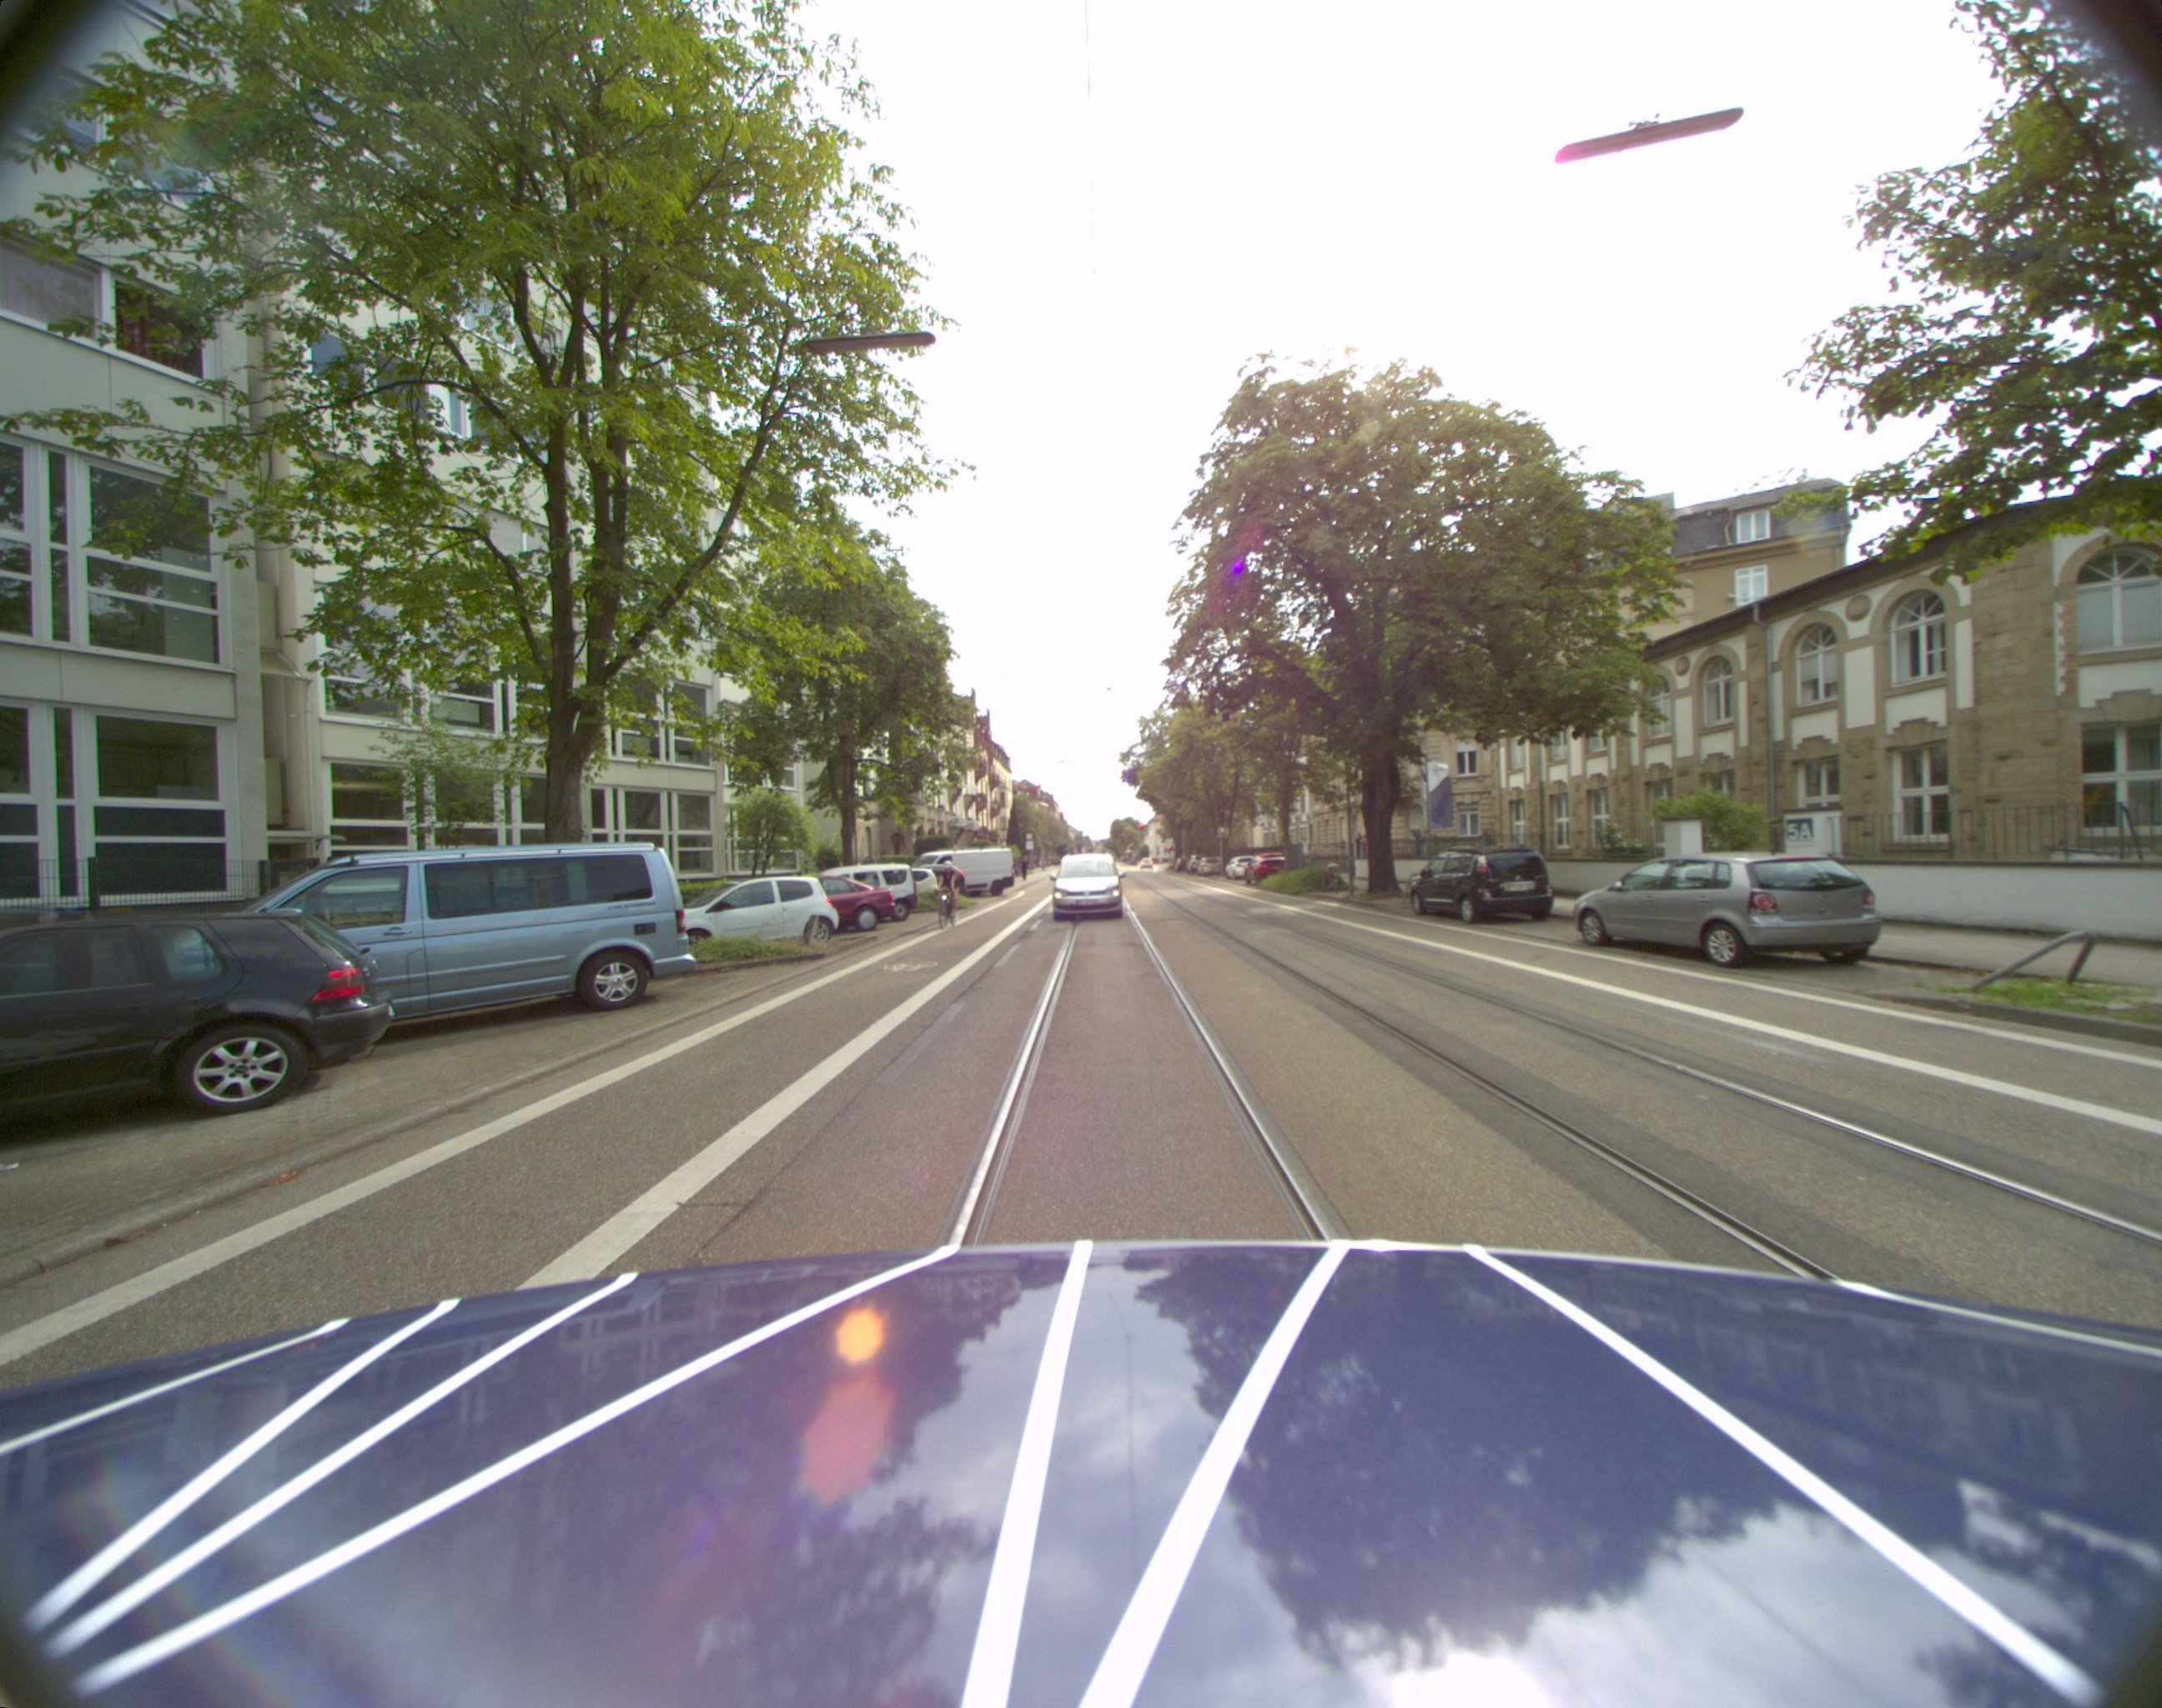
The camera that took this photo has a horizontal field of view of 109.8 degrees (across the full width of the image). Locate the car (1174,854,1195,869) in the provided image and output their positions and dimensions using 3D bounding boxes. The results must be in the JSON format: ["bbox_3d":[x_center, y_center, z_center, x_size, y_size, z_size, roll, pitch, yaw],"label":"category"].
[{"bbox_3d":[10.721,0.741,78.738,1.724,1.416,4.166,-4,0,3],"label":"car"}]

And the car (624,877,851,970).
[{"bbox_3d":[-6.740,1.277,15.147,3.723,1.424,1.685,-3,1,-43],"label":"car"}]

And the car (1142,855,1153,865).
[{"bbox_3d":[9.354,0.800,106.537,1.574,1.408,4.002,0,0,5],"label":"car"}]

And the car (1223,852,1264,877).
[{"bbox_3d":[10.409,0.646,48.996,1.725,1.415,4.023,-4,0,0],"label":"car"}]

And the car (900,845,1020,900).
[{"bbox_3d":[-5.640,0.823,35.674,4.968,2.277,2.378,-3,1,-41],"label":"car"}]

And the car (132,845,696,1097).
[{"bbox_3d":[-6.940,0.981,8.482,4.284,2.003,1.826,-3,1,-43],"label":"car"}]

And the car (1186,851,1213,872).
[{"bbox_3d":[10.386,0.634,66.887,1.714,1.664,4.357,-2,0,1],"label":"car"}]

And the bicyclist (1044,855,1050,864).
[{"bbox_3d":[-5.585,0.955,126.300,0.709,1.421,0.616,-2,1,25],"label":"bicyclist"}]

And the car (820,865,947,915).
[{"bbox_3d":[-7.086,1.265,27.555,4.100,1.502,1.685,-3,1,-43],"label":"car"}]

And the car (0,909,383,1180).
[{"bbox_3d":[-7.283,1.267,4.994,1.672,1.451,3.836,-2,1,45],"label":"car"}]

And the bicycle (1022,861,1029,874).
[{"bbox_3d":[-5.069,1.216,69.427,0.392,1.096,1.759,0,0,2],"label":"bicycle"}]

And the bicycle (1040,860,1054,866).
[{"bbox_3d":[-5.619,1.504,126.314,2.195,1.019,0.616,-2,0,25],"label":"bicycle"}]

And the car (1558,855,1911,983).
[{"bbox_3d":[8.876,0.763,10.836,1.697,1.419,3.868,-3,0,1],"label":"car"}]

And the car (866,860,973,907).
[{"bbox_3d":[-6.590,1.180,31.279,3.968,1.639,1.685,-3,1,-43],"label":"car"}]

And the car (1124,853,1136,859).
[{"bbox_3d":[16.571,0.760,258.873,3.996,1.716,1.877,-3,0,4],"label":"car"}]

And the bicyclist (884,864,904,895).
[{"bbox_3d":[-8.970,1.200,36.505,0.648,1.461,0.801,1,0,14],"label":"bicyclist"}]

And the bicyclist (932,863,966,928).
[{"bbox_3d":[-3.306,1.012,19.121,0.640,1.561,1.110,-1,0,-1],"label":"bicyclist"}]

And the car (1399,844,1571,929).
[{"bbox_3d":[9.046,0.660,17.444,1.760,1.637,4.052,-3,0,1],"label":"car"}]

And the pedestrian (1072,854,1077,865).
[{"bbox_3d":[-0.946,0.883,115.892,0.721,1.651,0.759,2,0,-2],"label":"pedestrian"}]

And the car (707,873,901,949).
[{"bbox_3d":[-6.546,1.275,18.190,3.983,1.424,1.685,-3,1,-41],"label":"car"}]

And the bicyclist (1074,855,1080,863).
[{"bbox_3d":[-0.654,0.799,125.514,0.772,1.357,0.616,-2,1,19],"label":"bicyclist"}]

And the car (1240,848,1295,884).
[{"bbox_3d":[9.797,0.600,40.285,1.725,1.645,4.542,-4,0,0],"label":"car"}]

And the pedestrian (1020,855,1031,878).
[{"bbox_3d":[-4.222,0.975,57.652,0.787,1.723,0.896,1,0,1],"label":"pedestrian"}]

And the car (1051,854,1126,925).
[{"bbox_3d":[0.269,0.889,21.027,1.767,1.661,4.330,-3,0,2],"label":"car"}]

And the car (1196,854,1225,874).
[{"bbox_3d":[10.084,0.732,59.275,1.604,1.459,4.079,-2,0,1],"label":"car"}]

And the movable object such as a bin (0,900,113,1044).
[{"bbox_3d":[-12.159,1.319,8.426,1.072,1.499,1.323,-3,0,2],"label":"movable object such as a bin"}]

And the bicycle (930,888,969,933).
[{"bbox_3d":[-3.299,1.386,19.199,0.640,0.975,2.071,-1,0,-1],"label":"bicycle"}]

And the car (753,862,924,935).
[{"bbox_3d":[-6.627,1.149,21.070,4.116,1.658,1.685,-3,1,-44],"label":"car"}]

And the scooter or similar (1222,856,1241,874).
[{"bbox_3d":[10.329,0.756,52.227,0.563,1.216,1.321,-2,0,-22],"label":"scooter or similar"}]
